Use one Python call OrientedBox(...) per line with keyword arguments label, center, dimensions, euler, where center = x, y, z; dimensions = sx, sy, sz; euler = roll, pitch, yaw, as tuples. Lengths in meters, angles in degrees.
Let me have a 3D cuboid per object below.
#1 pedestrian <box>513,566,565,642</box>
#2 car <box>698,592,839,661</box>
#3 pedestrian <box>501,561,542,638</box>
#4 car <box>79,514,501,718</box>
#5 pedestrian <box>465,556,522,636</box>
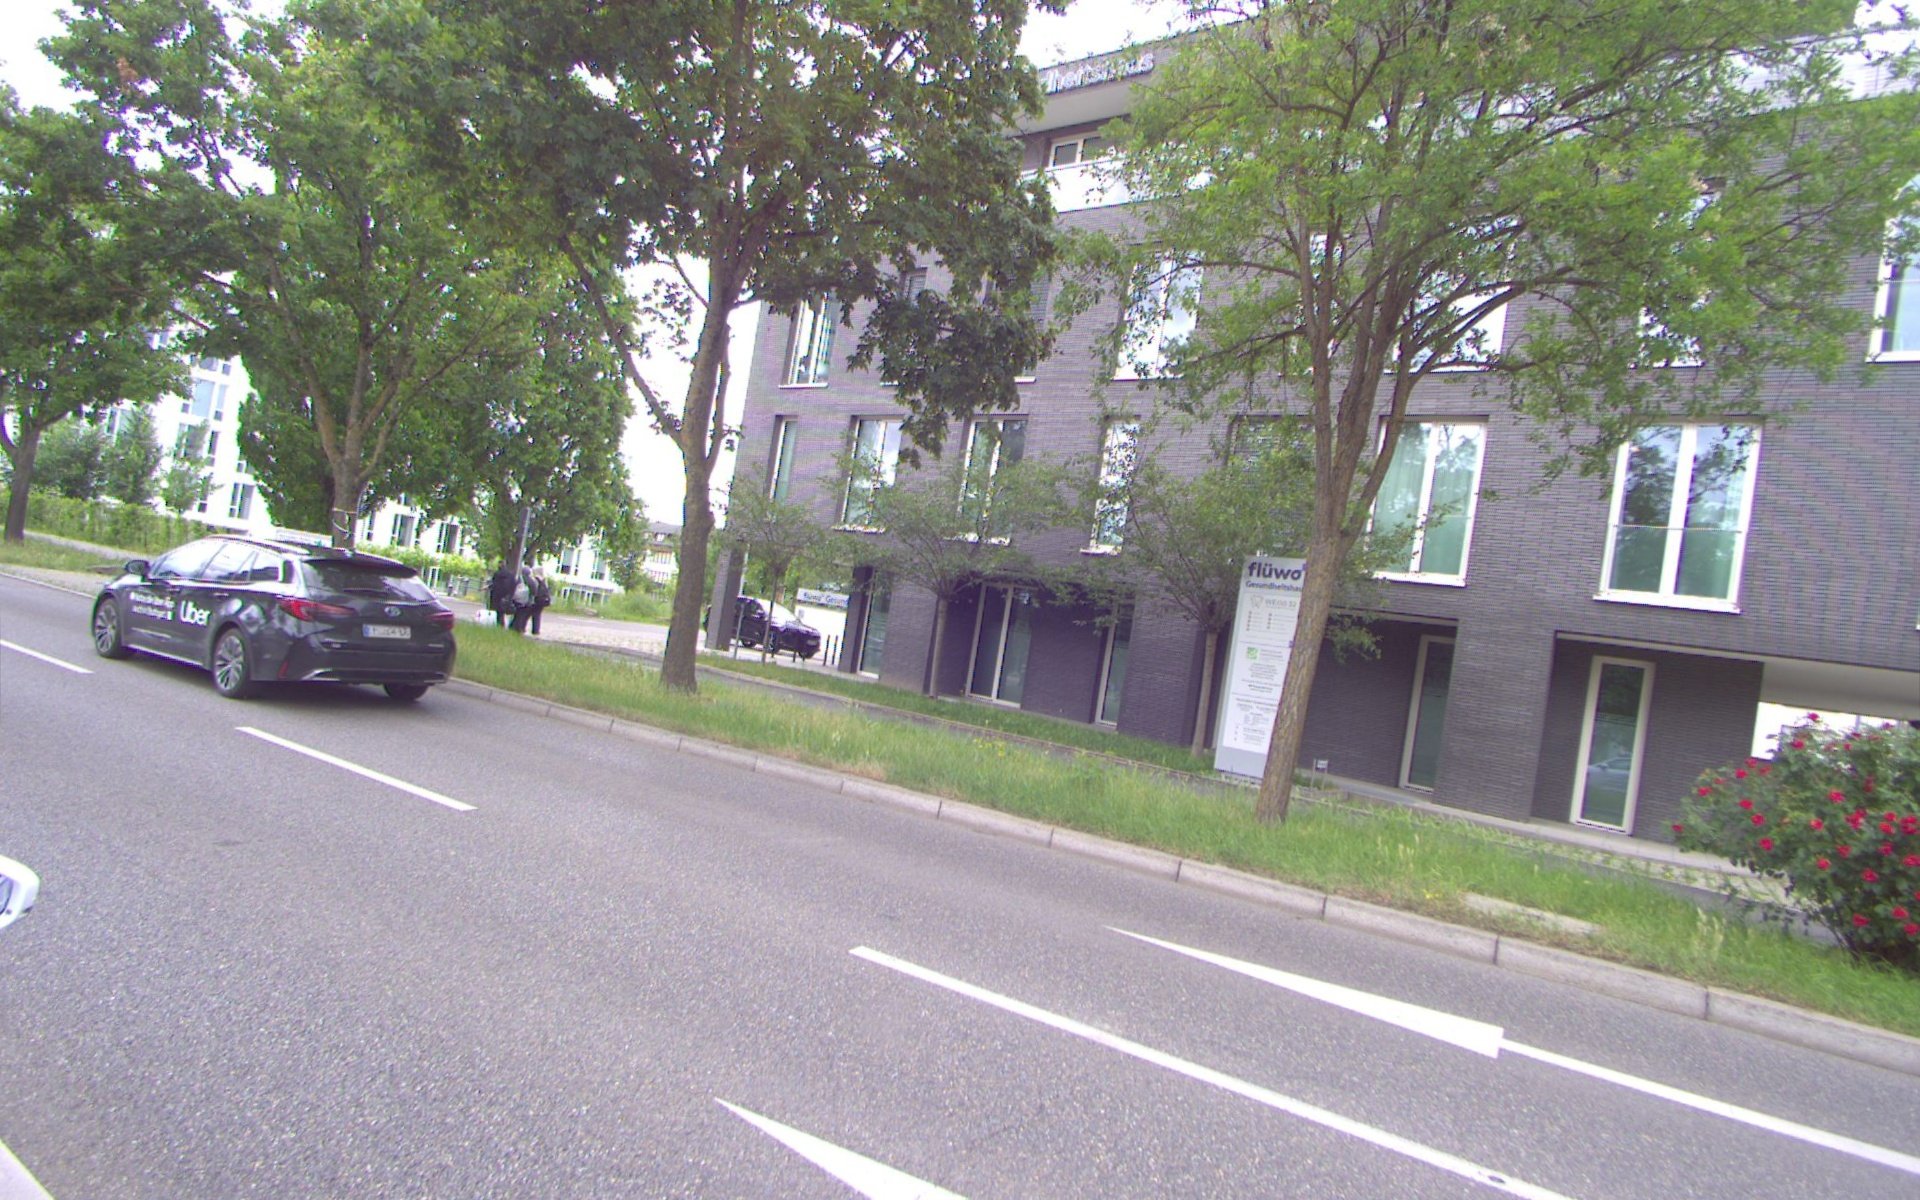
OrientedBox(label="pedestrian", center=(-9.450, 0.093, 22.577), dimensions=(0.732, 1.569, 0.590), euler=(7, -2, 37))
OrientedBox(label="car", center=(-6.075, 0.815, 31.746), dimensions=(4.112, 1.569, 1.828), euler=(7, -2, 34))
OrientedBox(label="pedestrian", center=(-9.435, -0.018, 21.651), dimensions=(0.553, 1.570, 0.409), euler=(7, -1, 37))
OrientedBox(label="car", center=(-6.883, 0.124, 10.223), dimensions=(4.346, 1.465, 1.768), euler=(6, -2, 31))
OrientedBox(label="pedestrian", center=(-9.856, -0.073, 21.250), dimensions=(0.578, 1.570, 0.726), euler=(7, -2, 37))
